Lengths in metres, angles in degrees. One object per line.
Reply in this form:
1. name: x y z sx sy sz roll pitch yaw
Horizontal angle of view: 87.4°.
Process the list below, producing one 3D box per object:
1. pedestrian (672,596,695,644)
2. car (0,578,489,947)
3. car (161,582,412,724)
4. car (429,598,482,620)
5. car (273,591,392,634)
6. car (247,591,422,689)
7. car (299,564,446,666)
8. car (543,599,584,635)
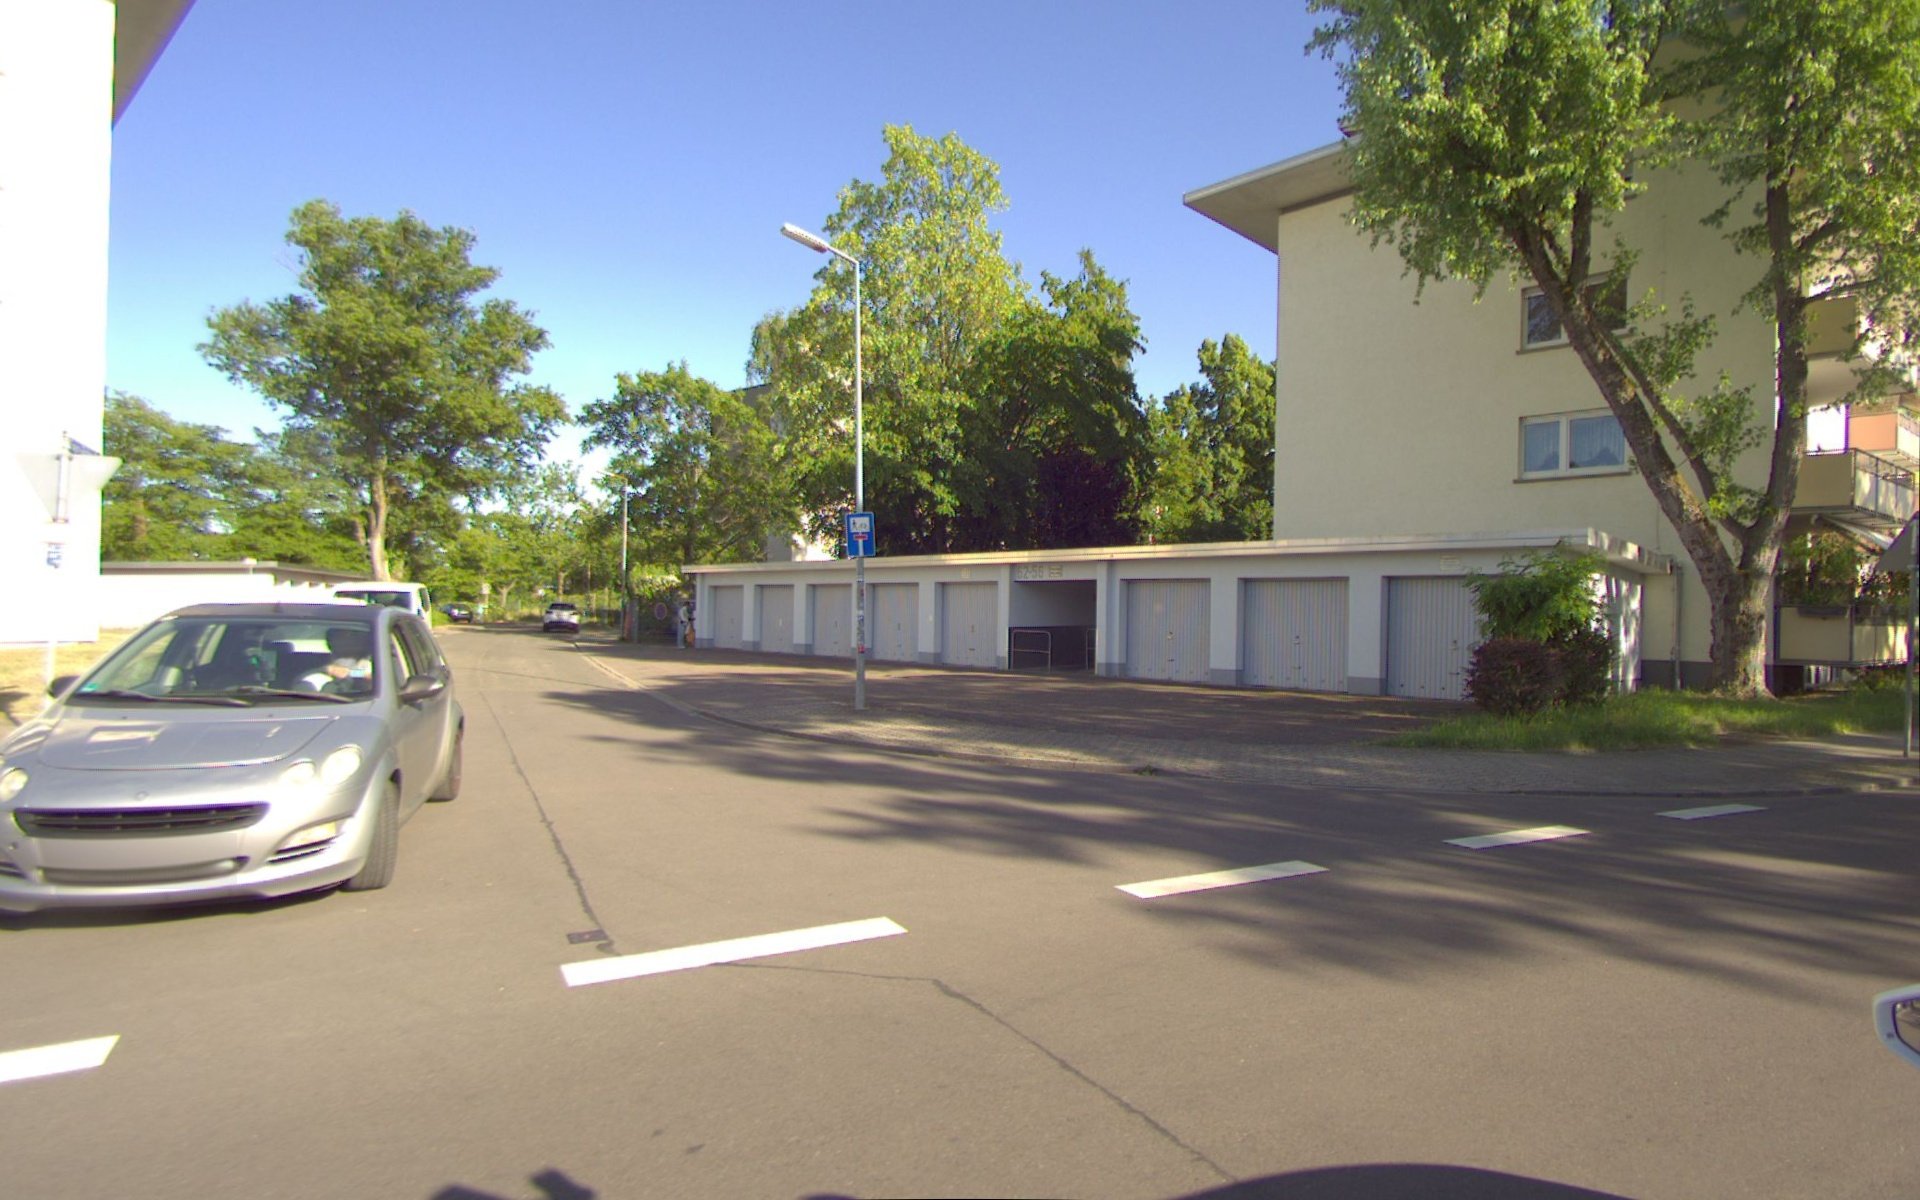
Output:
1. pedestrian: -9.723 0.700 35.324 0.528 1.676 0.553 1 -1 18
2. car: -4.128 0.688 6.029 1.968 1.480 3.923 2 -1 -20
3. car: -8.285 0.603 12.781 2.016 1.483 3.975 2 -1 -25
4. car: -39.399 0.694 78.433 4.102 1.601 1.994 1 -1 35
5. car: -25.463 0.530 40.922 3.952 1.617 1.985 2 -1 -29
6. car: -10.756 0.657 17.622 2.015 1.480 4.429 2 -1 -25
7. car: -12.847 0.332 22.322 2.206 1.977 5.092 2 -1 -24
8. car: -21.947 0.927 55.657 1.825 1.901 3.984 2 -1 -18
